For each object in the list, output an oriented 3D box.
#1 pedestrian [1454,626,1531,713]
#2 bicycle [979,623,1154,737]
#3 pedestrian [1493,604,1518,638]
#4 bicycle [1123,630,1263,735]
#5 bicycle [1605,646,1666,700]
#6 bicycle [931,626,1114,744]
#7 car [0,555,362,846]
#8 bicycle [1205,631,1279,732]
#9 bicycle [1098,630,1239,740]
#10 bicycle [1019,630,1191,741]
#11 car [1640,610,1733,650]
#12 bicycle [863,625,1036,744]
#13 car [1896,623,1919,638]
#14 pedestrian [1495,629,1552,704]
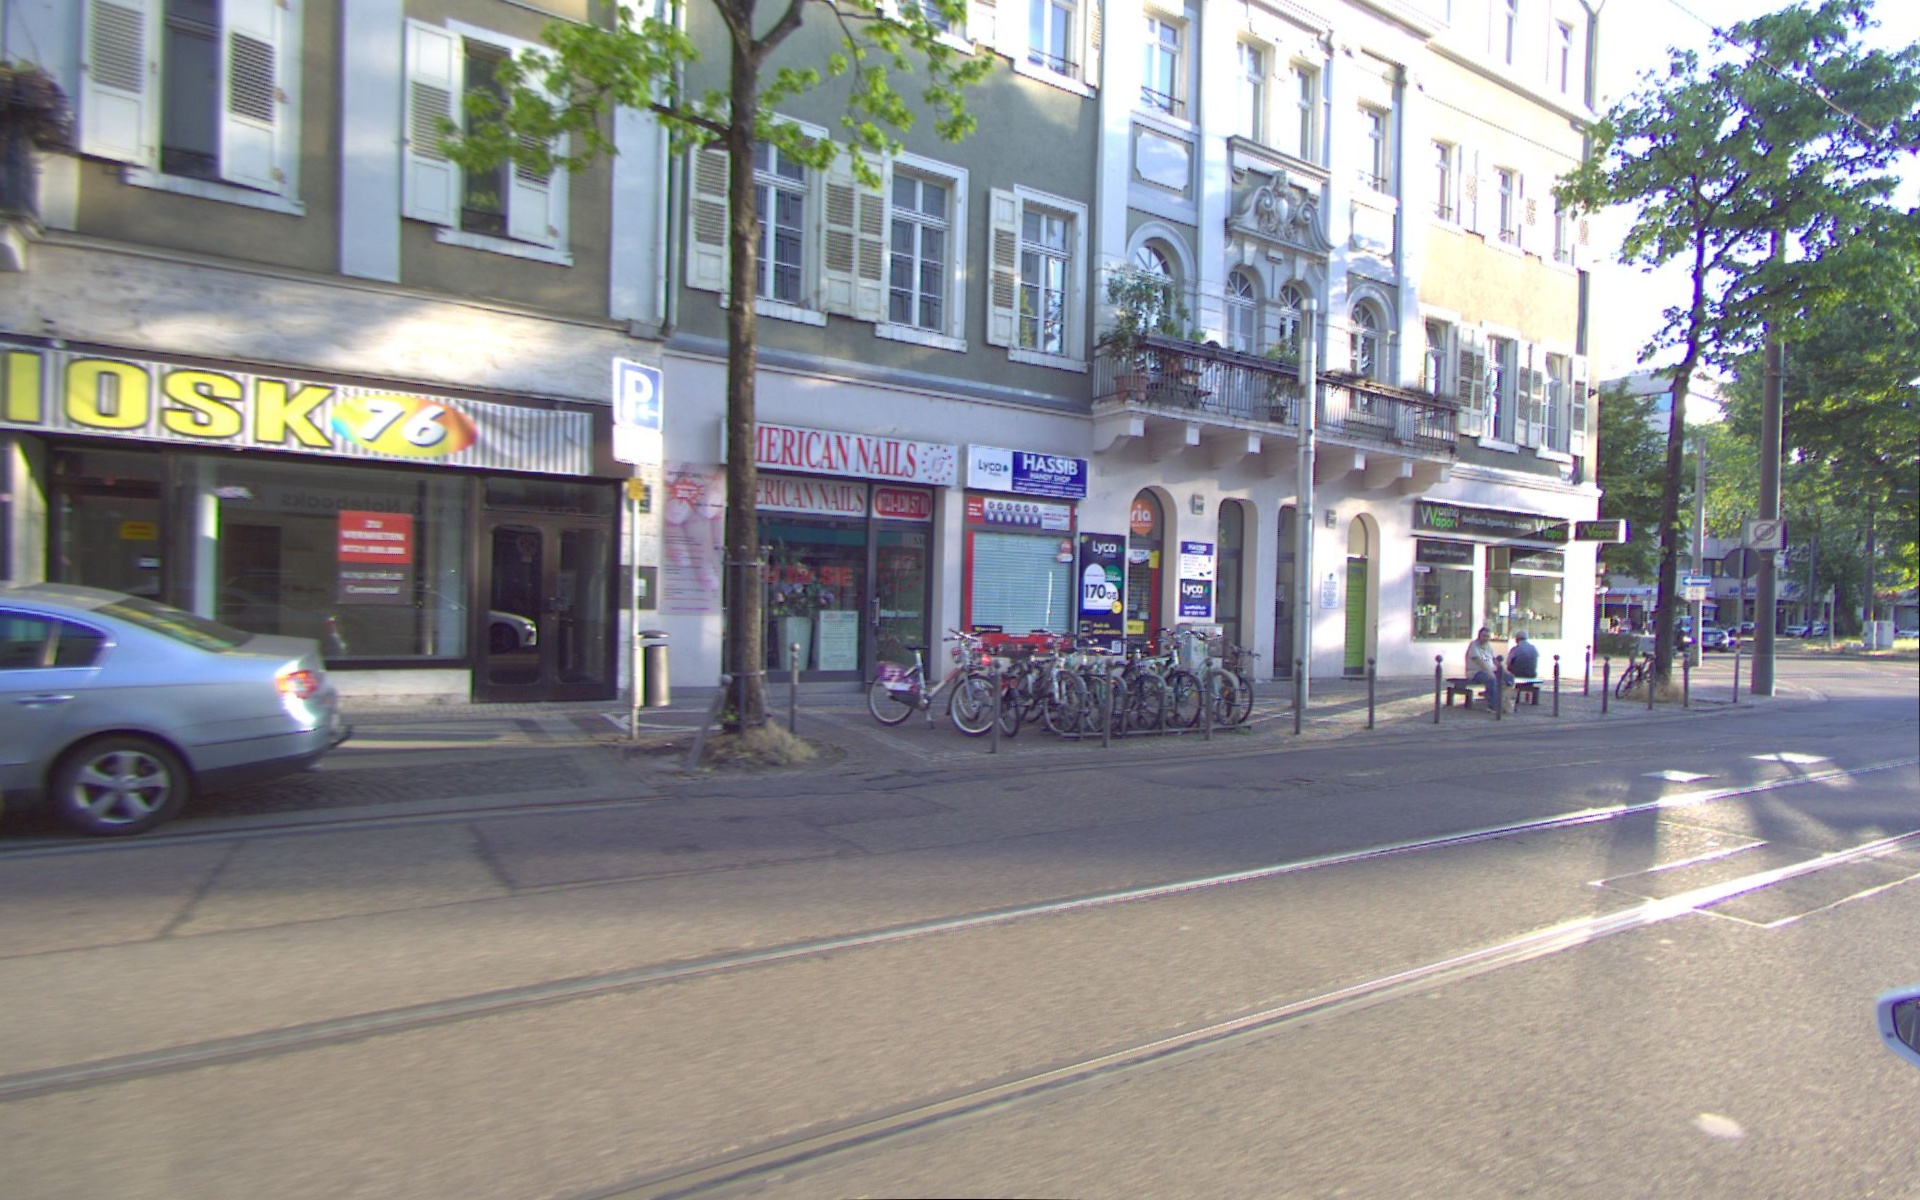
[{"bbox_3d":[8.406,1.074,15.857,0.847,1.308,0.723,1,1,-34],"label":"pedestrian"},{"bbox_3d":[1.214,0.900,11.788,1.996,1.119,0.499,4,1,35],"label":"bicycle"},{"bbox_3d":[23.214,0.872,42.745,0.730,1.429,0.772,1,0,11],"label":"pedestrian"},{"bbox_3d":[2.935,1.012,12.885,0.495,1.119,2.015,2,1,-28],"label":"bicycle"},{"bbox_3d":[12.710,1.356,18.878,1.492,0.958,0.335,1,0,-31],"label":"bicycle"},{"bbox_3d":[0.679,0.924,11.476,2.080,1.119,0.499,4,1,35],"label":"bicycle"},{"bbox_3d":[-6.462,0.548,6.261,4.648,1.601,1.826,1,4,-31],"label":"car"},{"bbox_3d":[3.692,1.024,13.297,0.491,1.119,2.031,3,1,4],"label":"bicycle"},{"bbox_3d":[2.522,1.005,12.442,0.495,1.119,2.015,2,1,-28],"label":"bicycle"},{"bbox_3d":[1.713,0.987,12.105,1.996,1.119,0.499,4,1,35],"label":"bicycle"},{"bbox_3d":[34.584,1.385,47.967,1.930,1.699,4.361,2,1,12],"label":"car"},{"bbox_3d":[-0.147,0.898,11.217,1.919,1.119,0.566,4,1,35],"label":"bicycle"},{"bbox_3d":[92.265,2.938,96.818,3.877,1.439,1.869,1,0,-29],"label":"car"},{"bbox_3d":[9.576,1.110,17.068,0.635,1.210,0.587,1,1,-34],"label":"pedestrian"}]
